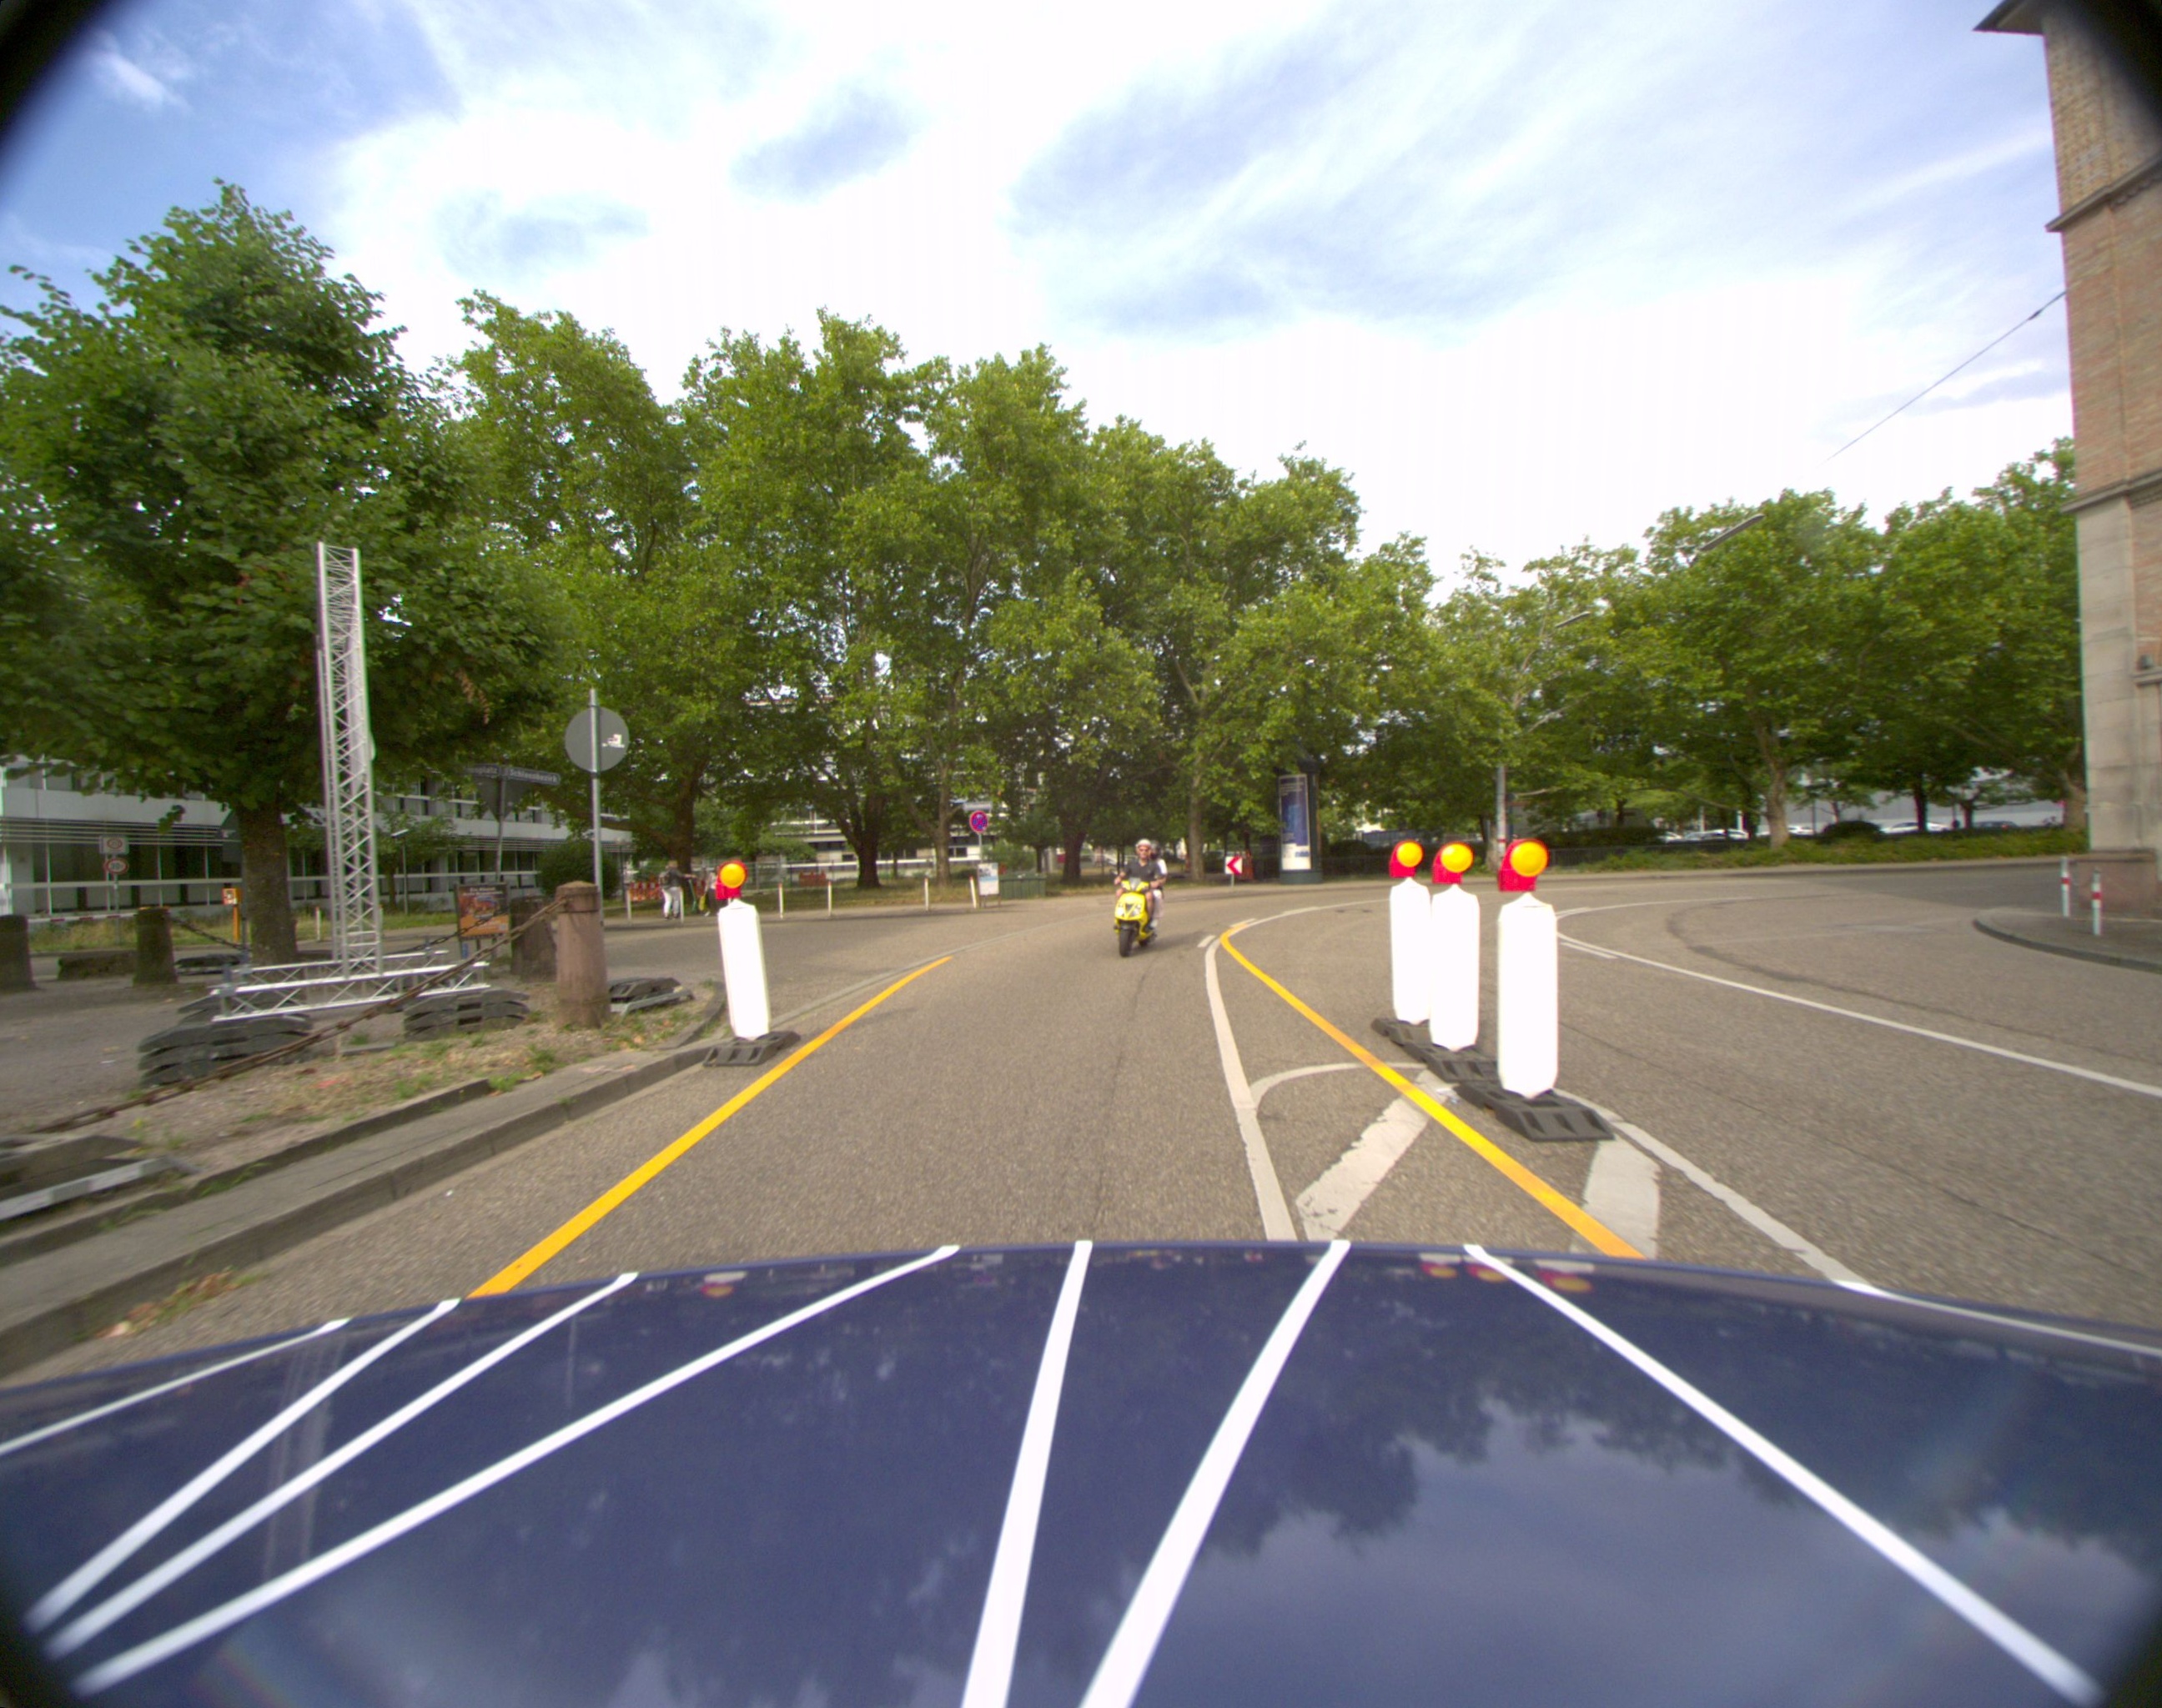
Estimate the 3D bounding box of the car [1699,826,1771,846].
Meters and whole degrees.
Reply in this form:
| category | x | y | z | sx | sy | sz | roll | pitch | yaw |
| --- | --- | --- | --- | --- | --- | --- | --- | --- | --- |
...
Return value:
| category | x | y | z | sx | sy | sz | roll | pitch | yaw |
| --- | --- | --- | --- | --- | --- | --- | --- | --- | --- |
| car | 59.587 | -1.639 | 69.295 | 4.769 | 1.620 | 2.000 | -2 | -2 | 0 |

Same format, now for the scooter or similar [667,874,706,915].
| category | x | y | z | sx | sy | sz | roll | pitch | yaw |
| --- | --- | --- | --- | --- | --- | --- | --- | --- | --- |
| scooter or similar | -12.440 | 1.268 | 24.011 | 0.570 | 1.261 | 1.454 | -2 | -1 | -6 |

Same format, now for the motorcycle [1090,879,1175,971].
| category | x | y | z | sx | sy | sz | roll | pitch | yaw |
| --- | --- | --- | --- | --- | --- | --- | --- | --- | --- |
| motorcycle | 0.822 | 1.000 | 11.431 | 0.780 | 1.171 | 1.995 | -1 | 1 | 18 |

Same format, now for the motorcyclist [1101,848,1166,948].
| category | x | y | z | sx | sy | sz | roll | pitch | yaw |
| --- | --- | --- | --- | --- | --- | --- | --- | --- | --- |
| motorcyclist | 0.797 | 0.631 | 11.357 | 0.780 | 1.419 | 0.765 | -1 | 1 | 18 |

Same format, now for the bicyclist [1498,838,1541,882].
| category | x | y | z | sx | sy | sz | roll | pitch | yaw |
| --- | --- | --- | --- | --- | --- | --- | --- | --- | --- |
| bicyclist | 14.566 | 0.204 | 25.242 | 0.914 | 1.438 | 0.784 | -2 | -1 | -12 |

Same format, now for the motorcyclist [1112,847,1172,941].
| category | x | y | z | sx | sy | sz | roll | pitch | yaw |
| --- | --- | --- | --- | --- | --- | --- | --- | --- | --- |
| motorcyclist | 0.958 | 0.601 | 11.850 | 0.780 | 1.419 | 0.689 | -1 | 1 | 18 |

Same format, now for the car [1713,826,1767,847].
| category | x | y | z | sx | sy | sz | roll | pitch | yaw |
| --- | --- | --- | --- | --- | --- | --- | --- | --- | --- |
| car | 71.794 | -1.923 | 82.818 | 2.000 | 2.001 | 3.998 | -2 | -2 | -10 |

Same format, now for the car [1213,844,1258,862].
| category | x | y | z | sx | sy | sz | roll | pitch | yaw |
| --- | --- | --- | --- | --- | --- | --- | --- | --- | --- |
| car | 14.881 | -0.087 | 73.215 | 3.788 | 1.571 | 2.000 | -2 | -2 | -4 |

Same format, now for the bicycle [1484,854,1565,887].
| category | x | y | z | sx | sy | sz | roll | pitch | yaw |
| --- | --- | --- | --- | --- | --- | --- | --- | --- | --- |
| bicycle | 14.734 | 0.549 | 25.269 | 2.408 | 1.009 | 0.771 | -2 | -1 | -11 |

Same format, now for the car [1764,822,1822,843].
| category | x | y | z | sx | sy | sz | roll | pitch | yaw |
| --- | --- | --- | --- | --- | --- | --- | --- | --- | --- |
| car | 72.992 | -2.189 | 77.991 | 1.954 | 1.850 | 3.877 | -2 | -2 | -10 |

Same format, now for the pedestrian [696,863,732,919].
| category | x | y | z | sx | sy | sz | roll | pitch | yaw |
| --- | --- | --- | --- | --- | --- | --- | --- | --- | --- |
| pedestrian | -11.112 | 1.104 | 23.035 | 0.900 | 1.631 | 0.851 | -1 | -1 | -21 |

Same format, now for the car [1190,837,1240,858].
| category | x | y | z | sx | sy | sz | roll | pitch | yaw |
| --- | --- | --- | --- | --- | --- | --- | --- | --- | --- |
| car | 14.174 | -0.668 | 80.469 | 4.771 | 2.001 | 2.000 | -2 | -1 | -4 |

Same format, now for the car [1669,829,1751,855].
| category | x | y | z | sx | sy | sz | roll | pitch | yaw |
| --- | --- | --- | --- | --- | --- | --- | --- | --- | --- |
| car | 48.519 | -0.934 | 58.651 | 4.771 | 1.783 | 2.000 | -2 | -1 | -4 |

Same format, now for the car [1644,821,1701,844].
| category | x | y | z | sx | sy | sz | roll | pitch | yaw |
| --- | --- | --- | --- | --- | --- | --- | --- | --- | --- |
| car | 59.426 | -2.126 | 76.408 | 3.996 | 2.001 | 2.001 | -2 | -1 | 3 |

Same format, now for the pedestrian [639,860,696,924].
| category | x | y | z | sx | sy | sz | roll | pitch | yaw |
| --- | --- | --- | --- | --- | --- | --- | --- | --- | --- |
| pedestrian | -11.723 | 1.058 | 21.571 | 0.963 | 1.731 | 1.255 | -2 | -1 | -4 |

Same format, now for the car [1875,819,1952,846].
| category | x | y | z | sx | sy | sz | roll | pitch | yaw |
| --- | --- | --- | --- | --- | --- | --- | --- | --- | --- |
| car | 71.585 | -1.797 | 65.441 | 1.999 | 2.001 | 3.999 | -2 | -2 | -6 |
